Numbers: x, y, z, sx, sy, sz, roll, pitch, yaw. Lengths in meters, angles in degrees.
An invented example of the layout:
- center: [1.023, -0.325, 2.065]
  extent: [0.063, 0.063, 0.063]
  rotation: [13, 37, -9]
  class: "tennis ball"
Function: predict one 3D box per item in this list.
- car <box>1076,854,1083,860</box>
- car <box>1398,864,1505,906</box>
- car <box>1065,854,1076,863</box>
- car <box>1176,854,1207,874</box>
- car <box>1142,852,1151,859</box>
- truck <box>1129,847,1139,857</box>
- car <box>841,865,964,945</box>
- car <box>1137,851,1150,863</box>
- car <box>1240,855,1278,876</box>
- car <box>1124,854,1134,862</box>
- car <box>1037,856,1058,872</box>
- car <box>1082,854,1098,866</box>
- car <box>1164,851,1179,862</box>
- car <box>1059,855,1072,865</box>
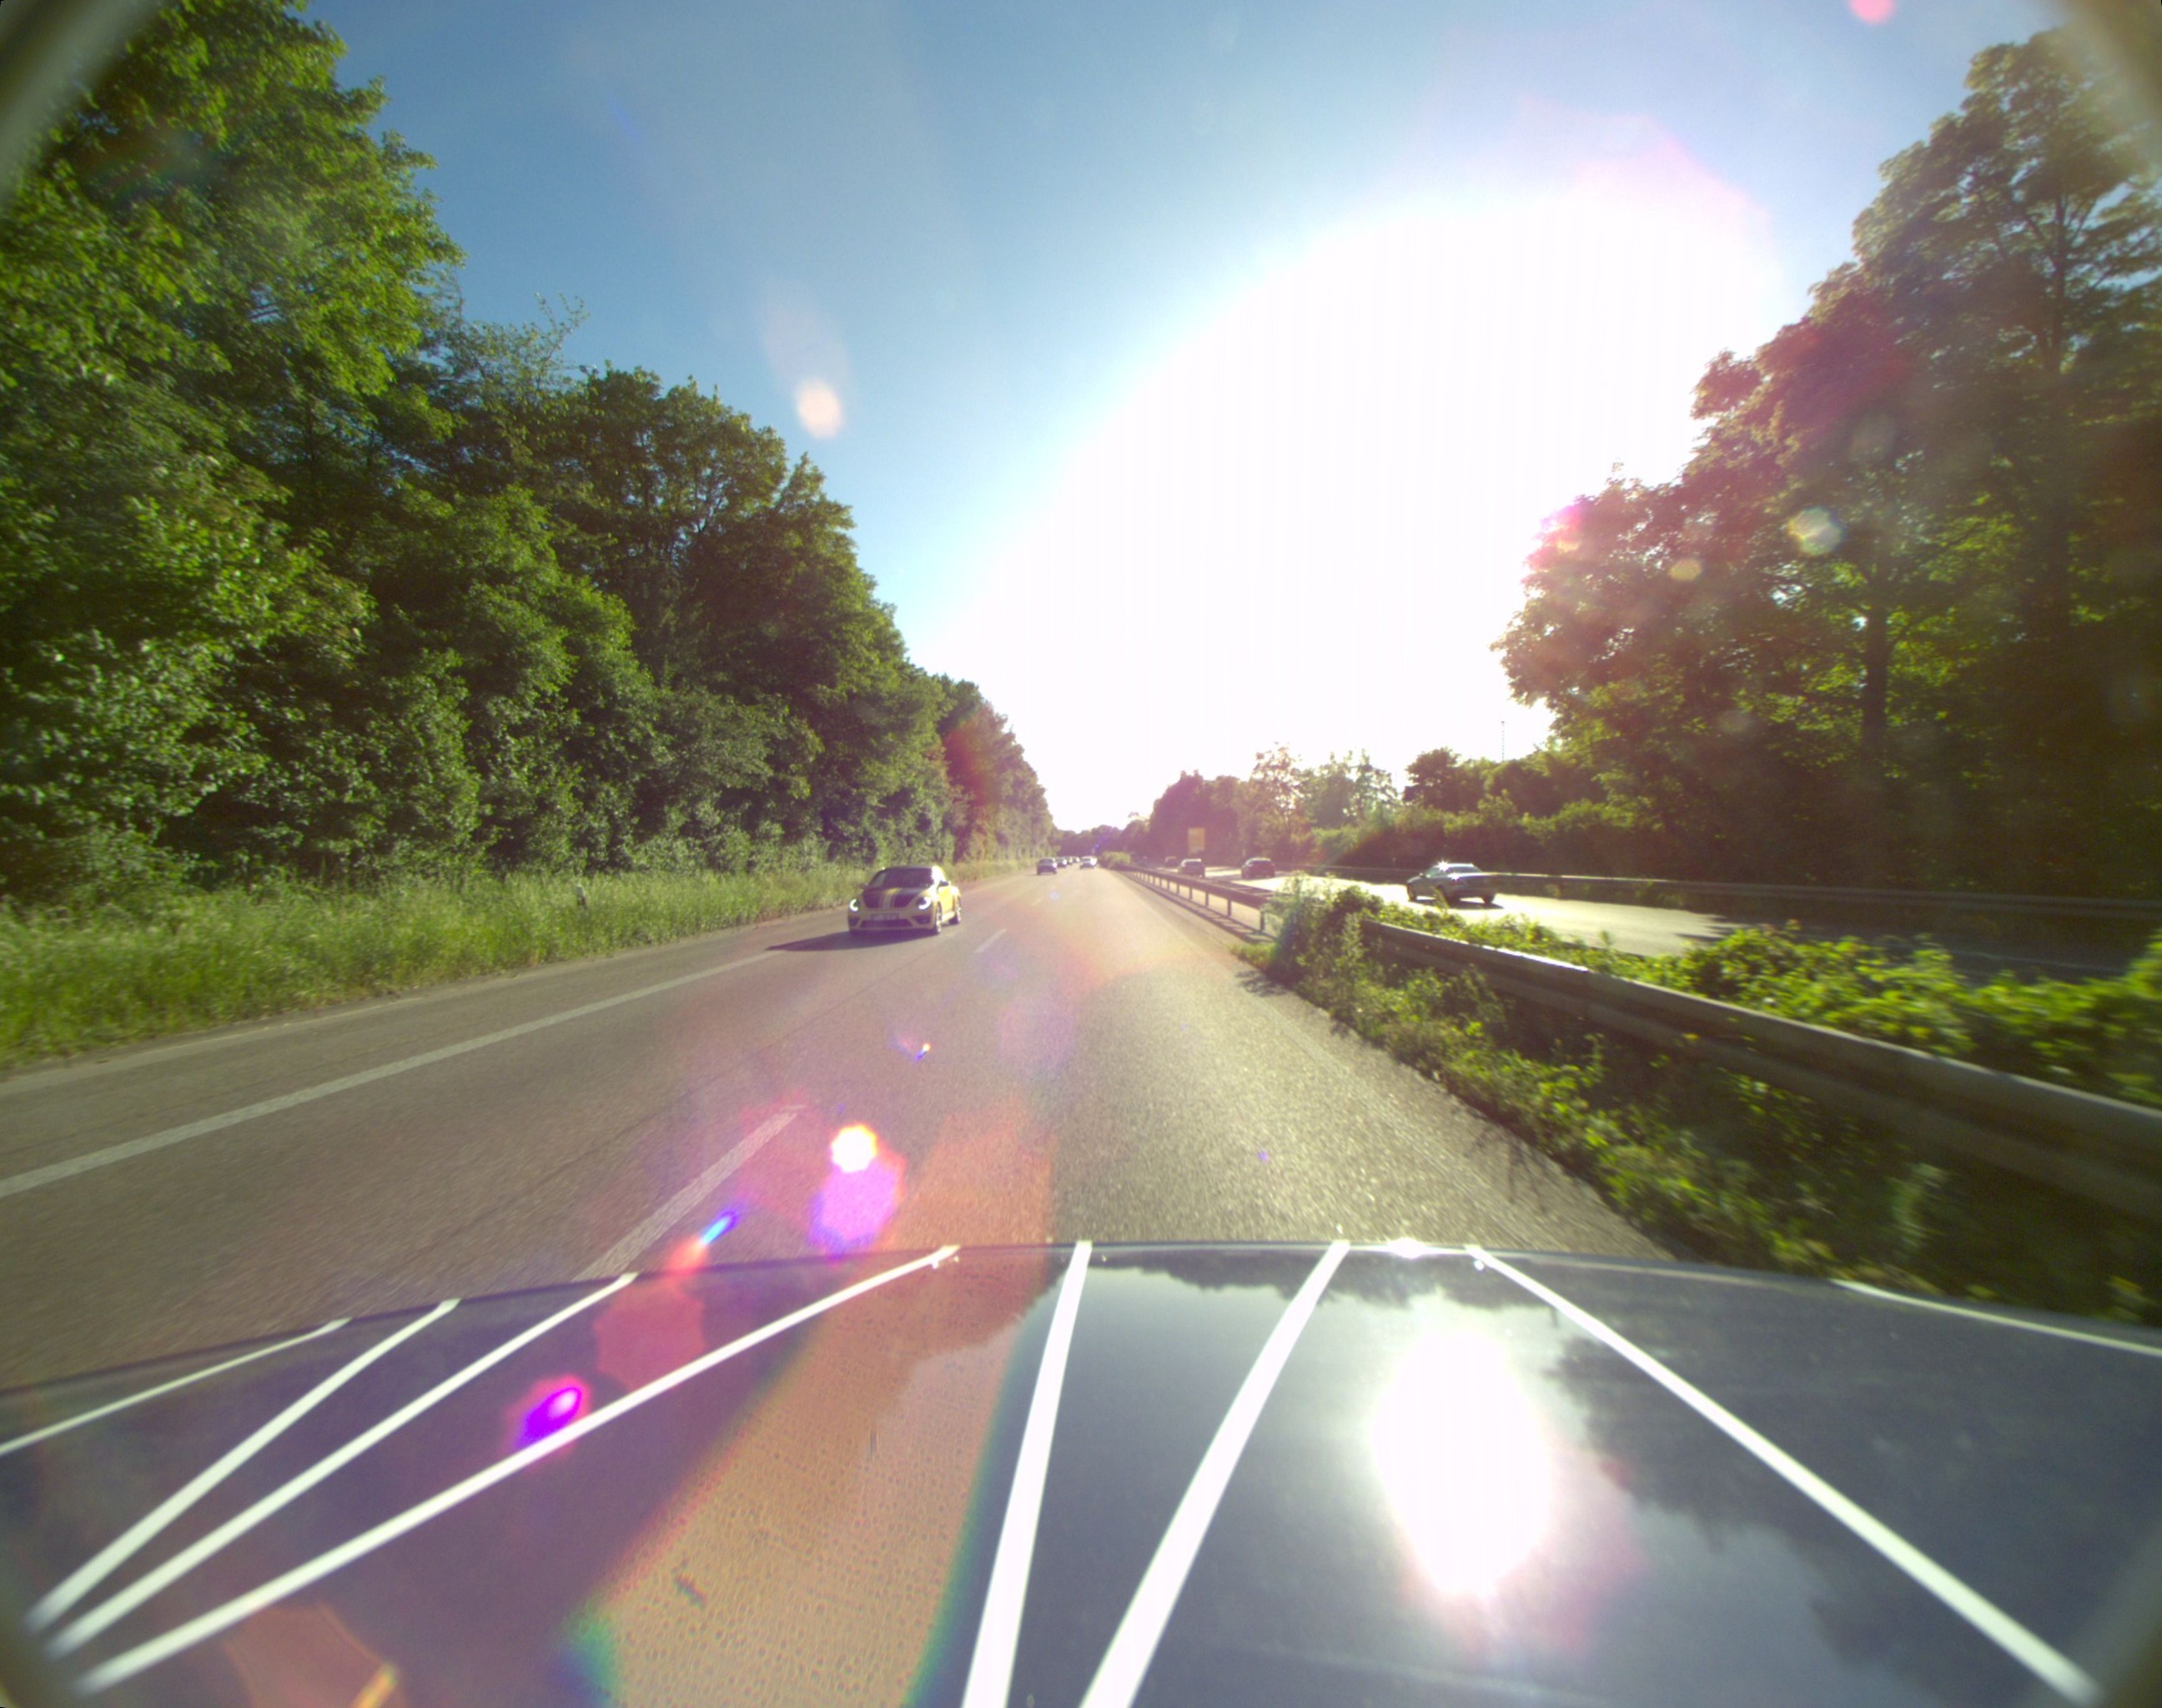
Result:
- center: [-0.419, 0.781, 191.385]
  extent: [1.794, 1.440, 3.877]
  rotation: [-2, 0, 0]
  class: "car"
- center: [12.649, 1.004, 26.227]
  extent: [1.649, 1.215, 4.262]
  rotation: [-1, 0, 1]
  class: "car"
- center: [-1.831, 0.839, 136.114]
  extent: [1.794, 1.440, 3.877]
  rotation: [-2, 0, 0]
  class: "car"
- center: [9.005, 0.796, 62.236]
  extent: [1.752, 1.417, 5.204]
  rotation: [-2, 1, 0]
  class: "car"
- center: [13.967, 0.332, 161.563]
  extent: [1.642, 1.540, 3.793]
  rotation: [-2, 1, 0]
  class: "car"
- center: [14.226, -0.619, 205.455]
  extent: [2.167, 2.570, 6.943]
  rotation: [-2, 1, 0]
  class: "truck"
- center: [-3.818, 1.036, 16.930]
  extent: [1.794, 1.440, 3.877]
  rotation: [-2, 0, 0]
  class: "car"
- center: [9.603, 0.417, 116.326]
  extent: [1.642, 1.694, 3.793]
  rotation: [-2, 1, 0]
  class: "car"
- center: [12.968, 0.810, 55.509]
  extent: [1.752, 1.417, 4.136]
  rotation: [-2, 1, 0]
  class: "car"
- center: [9.576, 0.695, 151.401]
  extent: [1.642, 1.486, 3.793]
  rotation: [-2, 1, 0]
  class: "car"
- center: [-3.124, 0.916, 71.106]
  extent: [1.794, 1.440, 3.877]
  rotation: [-2, 0, 0]
  class: "car"
- center: [1.144, 0.773, 96.581]
  extent: [1.890, 1.440, 3.878]
  rotation: [-2, 0, 1]
  class: "car"
- center: [13.083, 0.343, 109.996]
  extent: [1.752, 1.486, 3.976]
  rotation: [-2, 1, 0]
  class: "car"
- center: [-2.217, 0.849, 108.127]
  extent: [1.794, 1.440, 3.877]
  rotation: [-2, 0, 0]
  class: "car"
